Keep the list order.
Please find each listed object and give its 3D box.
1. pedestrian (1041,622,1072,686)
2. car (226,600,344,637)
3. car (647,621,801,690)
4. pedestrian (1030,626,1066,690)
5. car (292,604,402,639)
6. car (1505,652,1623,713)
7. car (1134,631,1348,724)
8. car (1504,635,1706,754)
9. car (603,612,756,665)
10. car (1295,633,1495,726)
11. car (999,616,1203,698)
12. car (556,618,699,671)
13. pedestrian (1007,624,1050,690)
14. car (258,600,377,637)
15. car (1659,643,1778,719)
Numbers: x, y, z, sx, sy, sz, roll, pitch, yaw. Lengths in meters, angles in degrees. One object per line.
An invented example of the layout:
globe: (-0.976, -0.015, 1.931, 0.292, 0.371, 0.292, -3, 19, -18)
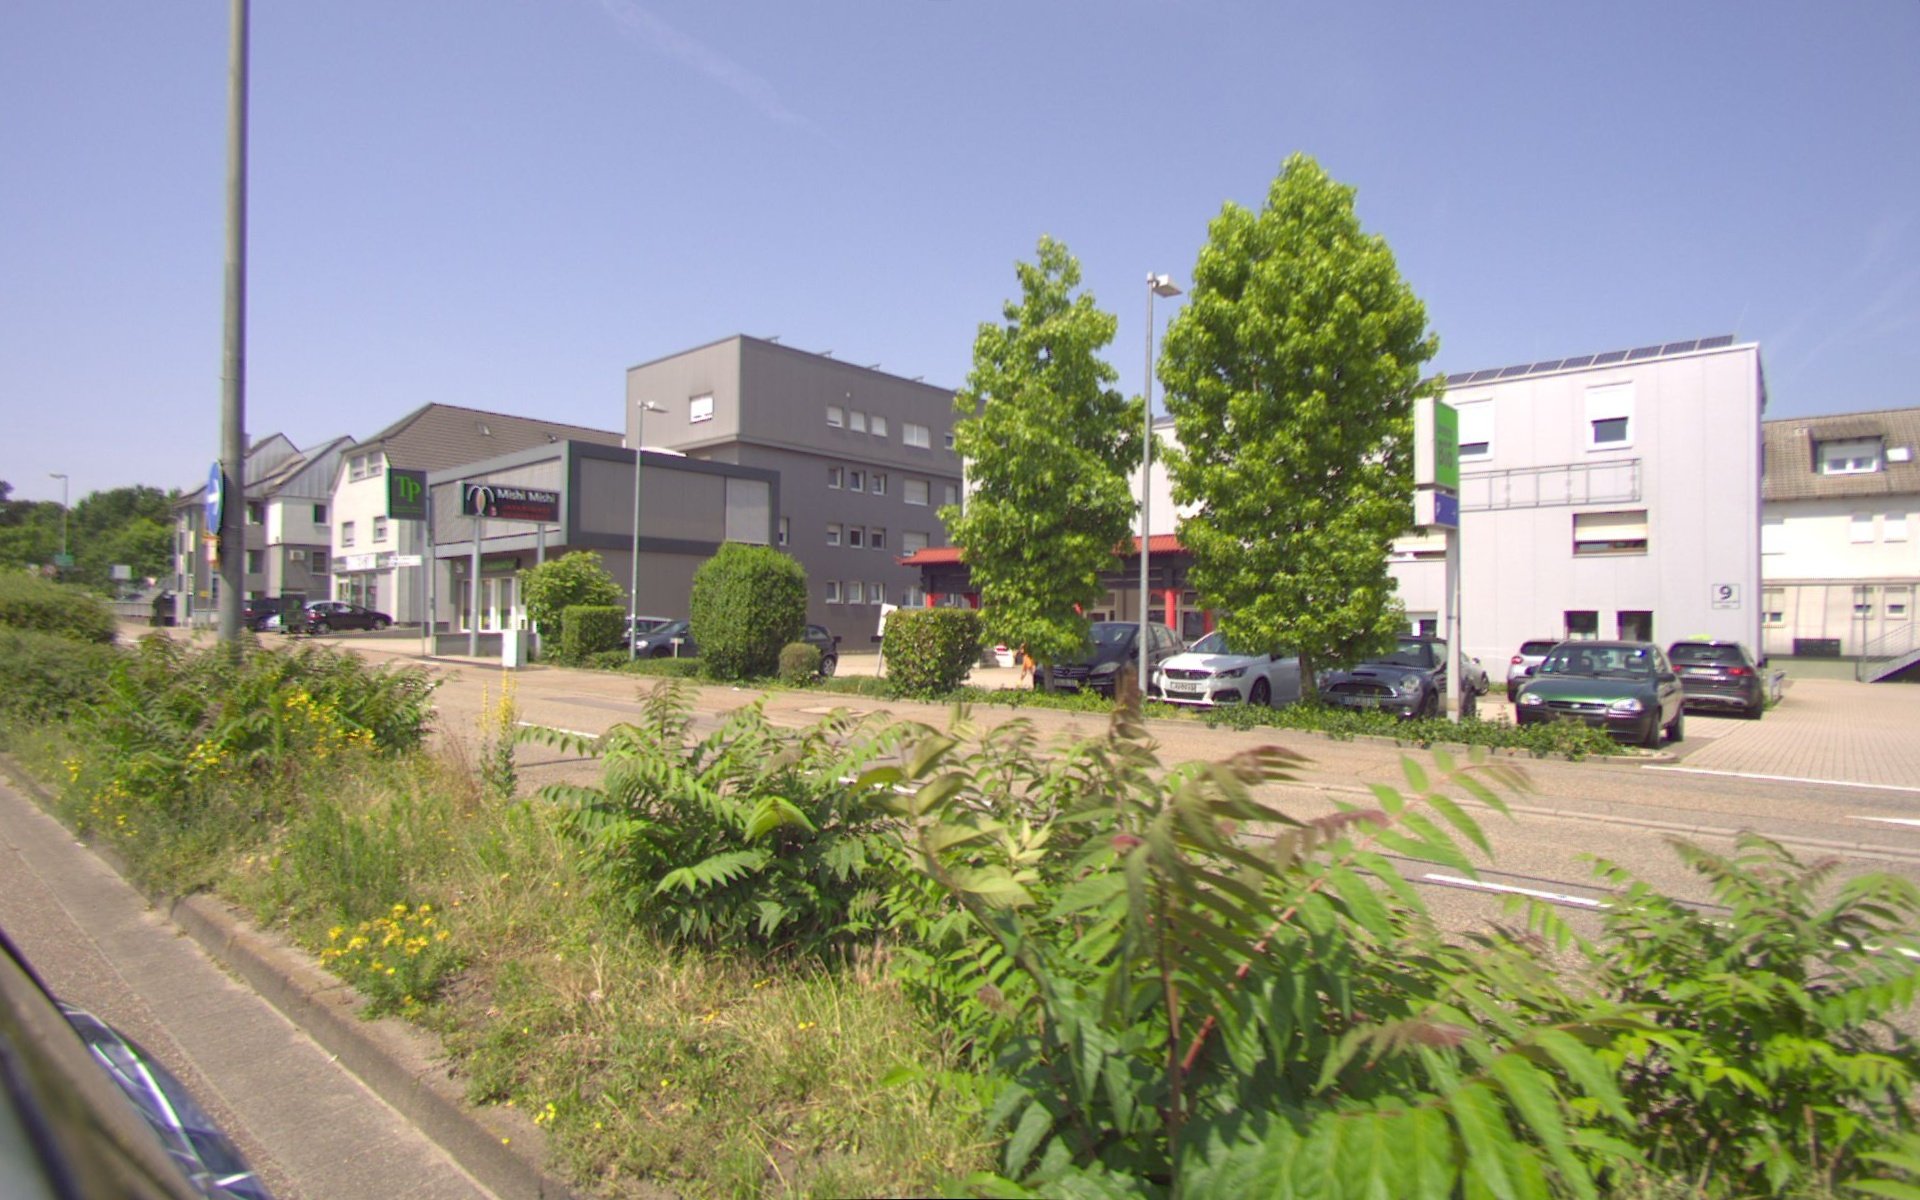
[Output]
pedestrian: (2.595, 1.441, 27.165, 0.624, 1.669, 0.540, 1, 1, 40)
car: (-33.905, 0.873, 50.929, 1.852, 1.639, 4.559, 0, 2, 40)
car: (-5.979, 1.358, 25.867, 1.777, 1.541, 3.444, 2, 1, 42)
pedestrian: (2.261, 1.491, 26.126, 0.703, 1.590, 0.574, 1, 1, 40)
car: (-29.030, 1.031, 48.005, 1.997, 1.532, 4.018, 1, -2, 37)
car: (14.748, 1.942, 24.636, 1.859, 1.295, 3.798, -1, -2, 41)
car: (4.901, 1.269, 17.270, 1.979, 1.359, 4.180, -1, -3, 40)
car: (8.855, 1.210, 13.777, 1.779, 1.375, 3.619, -1, -4, 41)
car: (-8.052, 1.154, 29.326, 1.669, 1.382, 3.953, -2, -5, 43)
car: (6.838, 1.182, 15.701, 1.858, 1.240, 3.799, -1, -3, 40)
car: (2.761, 1.064, 19.100, 2.040, 1.352, 4.108, -1, -3, 38)
car: (-10.075, 1.332, 30.918, 1.572, 1.470, 3.951, 1, -1, 36)
pedestrian: (1.721, 1.413, 25.345, 0.825, 1.596, 0.635, 1, 1, 40)
car: (-31.308, 0.872, 49.422, 1.747, 1.507, 4.570, 0, 2, 32)
car: (16.393, 1.686, 22.044, 1.760, 1.471, 3.808, 0, -2, 32)
